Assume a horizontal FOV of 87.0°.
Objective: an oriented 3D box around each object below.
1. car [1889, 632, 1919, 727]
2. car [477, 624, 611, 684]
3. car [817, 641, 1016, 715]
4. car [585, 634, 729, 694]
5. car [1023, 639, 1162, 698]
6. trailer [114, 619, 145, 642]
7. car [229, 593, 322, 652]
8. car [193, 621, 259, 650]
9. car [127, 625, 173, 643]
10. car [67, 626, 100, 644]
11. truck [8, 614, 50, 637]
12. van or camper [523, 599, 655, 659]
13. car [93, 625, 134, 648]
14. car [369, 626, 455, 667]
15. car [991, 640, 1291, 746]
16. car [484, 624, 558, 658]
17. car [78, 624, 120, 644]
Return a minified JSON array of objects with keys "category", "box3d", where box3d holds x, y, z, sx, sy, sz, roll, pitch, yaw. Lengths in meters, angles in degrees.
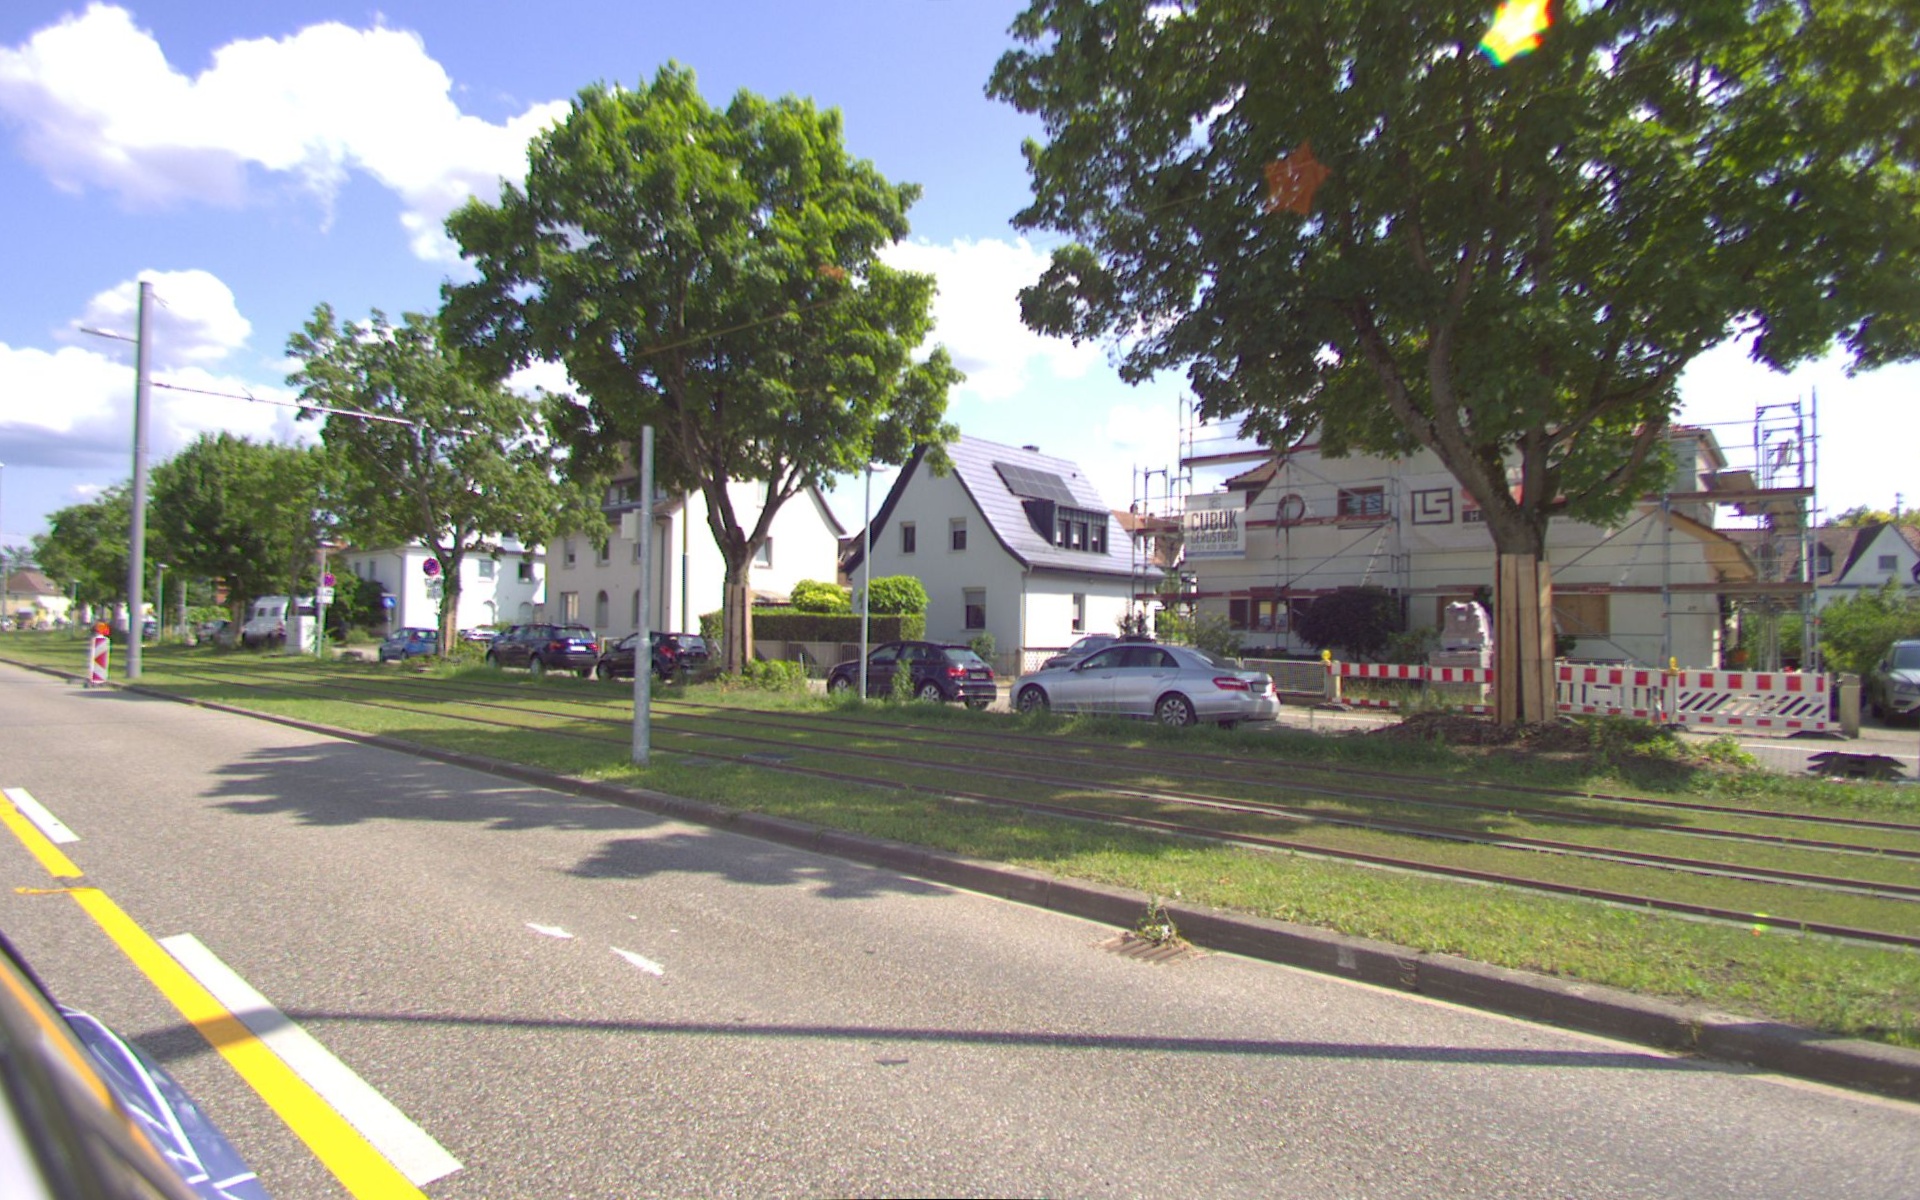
[{"category":"car","box3d":[18.907,1.516,19.096,1.872,1.697,3.609,0,-3,41]},{"category":"car","box3d":[-13.157,1.661,31.902,4.386,1.704,1.974,0,-3,38]},{"category":"car","box3d":[-0.968,1.618,21.281,3.851,1.328,1.973,0,-5,41]},{"category":"car","box3d":[-8.444,1.754,28.075,3.998,1.450,1.973,0,-4,41]},{"category":"car","box3d":[3.749,1.843,28.144,1.981,1.412,3.945,0,-1,41]},{"category":"trailer","box3d":[-59.632,2.188,72.677,2.281,1.530,1.286,-1,-3,41]},{"category":"car","box3d":[-33.963,1.152,50.148,6.456,2.751,1.973,-1,-4,40]},{"category":"car","box3d":[-40.842,1.969,56.277,4.485,1.517,1.972,0,-3,42]},{"category":"car","box3d":[-55.340,2.292,69.115,3.835,1.101,1.762,0,-3,41]},{"category":"car","box3d":[-83.746,3.321,96.709,4.324,1.551,1.971,-1,-3,44]},{"category":"truck","box3d":[-146.739,4.086,159.600,2.658,3.392,8.074,3,-3,-28]},{"category":"van or camper","box3d":[-21.305,1.724,58.431,2.633,3.246,6.657,-1,-3,41]},{"category":"car","box3d":[-66.787,2.905,79.830,4.100,1.590,1.885,-3,-7,42]},{"category":"car","box3d":[-20.912,1.761,38.562,3.890,1.446,1.734,0,-3,44]},{"category":"car","box3d":[2.999,1.508,17.591,4.938,1.494,1.785,-1,-3,42]},{"category":"car","box3d":[-22.194,2.071,51.134,3.999,1.589,1.882,0,-3,42]},{"category":"car","box3d":[-70.695,2.802,83.079,4.321,1.551,1.972,0,-3,42]}]
